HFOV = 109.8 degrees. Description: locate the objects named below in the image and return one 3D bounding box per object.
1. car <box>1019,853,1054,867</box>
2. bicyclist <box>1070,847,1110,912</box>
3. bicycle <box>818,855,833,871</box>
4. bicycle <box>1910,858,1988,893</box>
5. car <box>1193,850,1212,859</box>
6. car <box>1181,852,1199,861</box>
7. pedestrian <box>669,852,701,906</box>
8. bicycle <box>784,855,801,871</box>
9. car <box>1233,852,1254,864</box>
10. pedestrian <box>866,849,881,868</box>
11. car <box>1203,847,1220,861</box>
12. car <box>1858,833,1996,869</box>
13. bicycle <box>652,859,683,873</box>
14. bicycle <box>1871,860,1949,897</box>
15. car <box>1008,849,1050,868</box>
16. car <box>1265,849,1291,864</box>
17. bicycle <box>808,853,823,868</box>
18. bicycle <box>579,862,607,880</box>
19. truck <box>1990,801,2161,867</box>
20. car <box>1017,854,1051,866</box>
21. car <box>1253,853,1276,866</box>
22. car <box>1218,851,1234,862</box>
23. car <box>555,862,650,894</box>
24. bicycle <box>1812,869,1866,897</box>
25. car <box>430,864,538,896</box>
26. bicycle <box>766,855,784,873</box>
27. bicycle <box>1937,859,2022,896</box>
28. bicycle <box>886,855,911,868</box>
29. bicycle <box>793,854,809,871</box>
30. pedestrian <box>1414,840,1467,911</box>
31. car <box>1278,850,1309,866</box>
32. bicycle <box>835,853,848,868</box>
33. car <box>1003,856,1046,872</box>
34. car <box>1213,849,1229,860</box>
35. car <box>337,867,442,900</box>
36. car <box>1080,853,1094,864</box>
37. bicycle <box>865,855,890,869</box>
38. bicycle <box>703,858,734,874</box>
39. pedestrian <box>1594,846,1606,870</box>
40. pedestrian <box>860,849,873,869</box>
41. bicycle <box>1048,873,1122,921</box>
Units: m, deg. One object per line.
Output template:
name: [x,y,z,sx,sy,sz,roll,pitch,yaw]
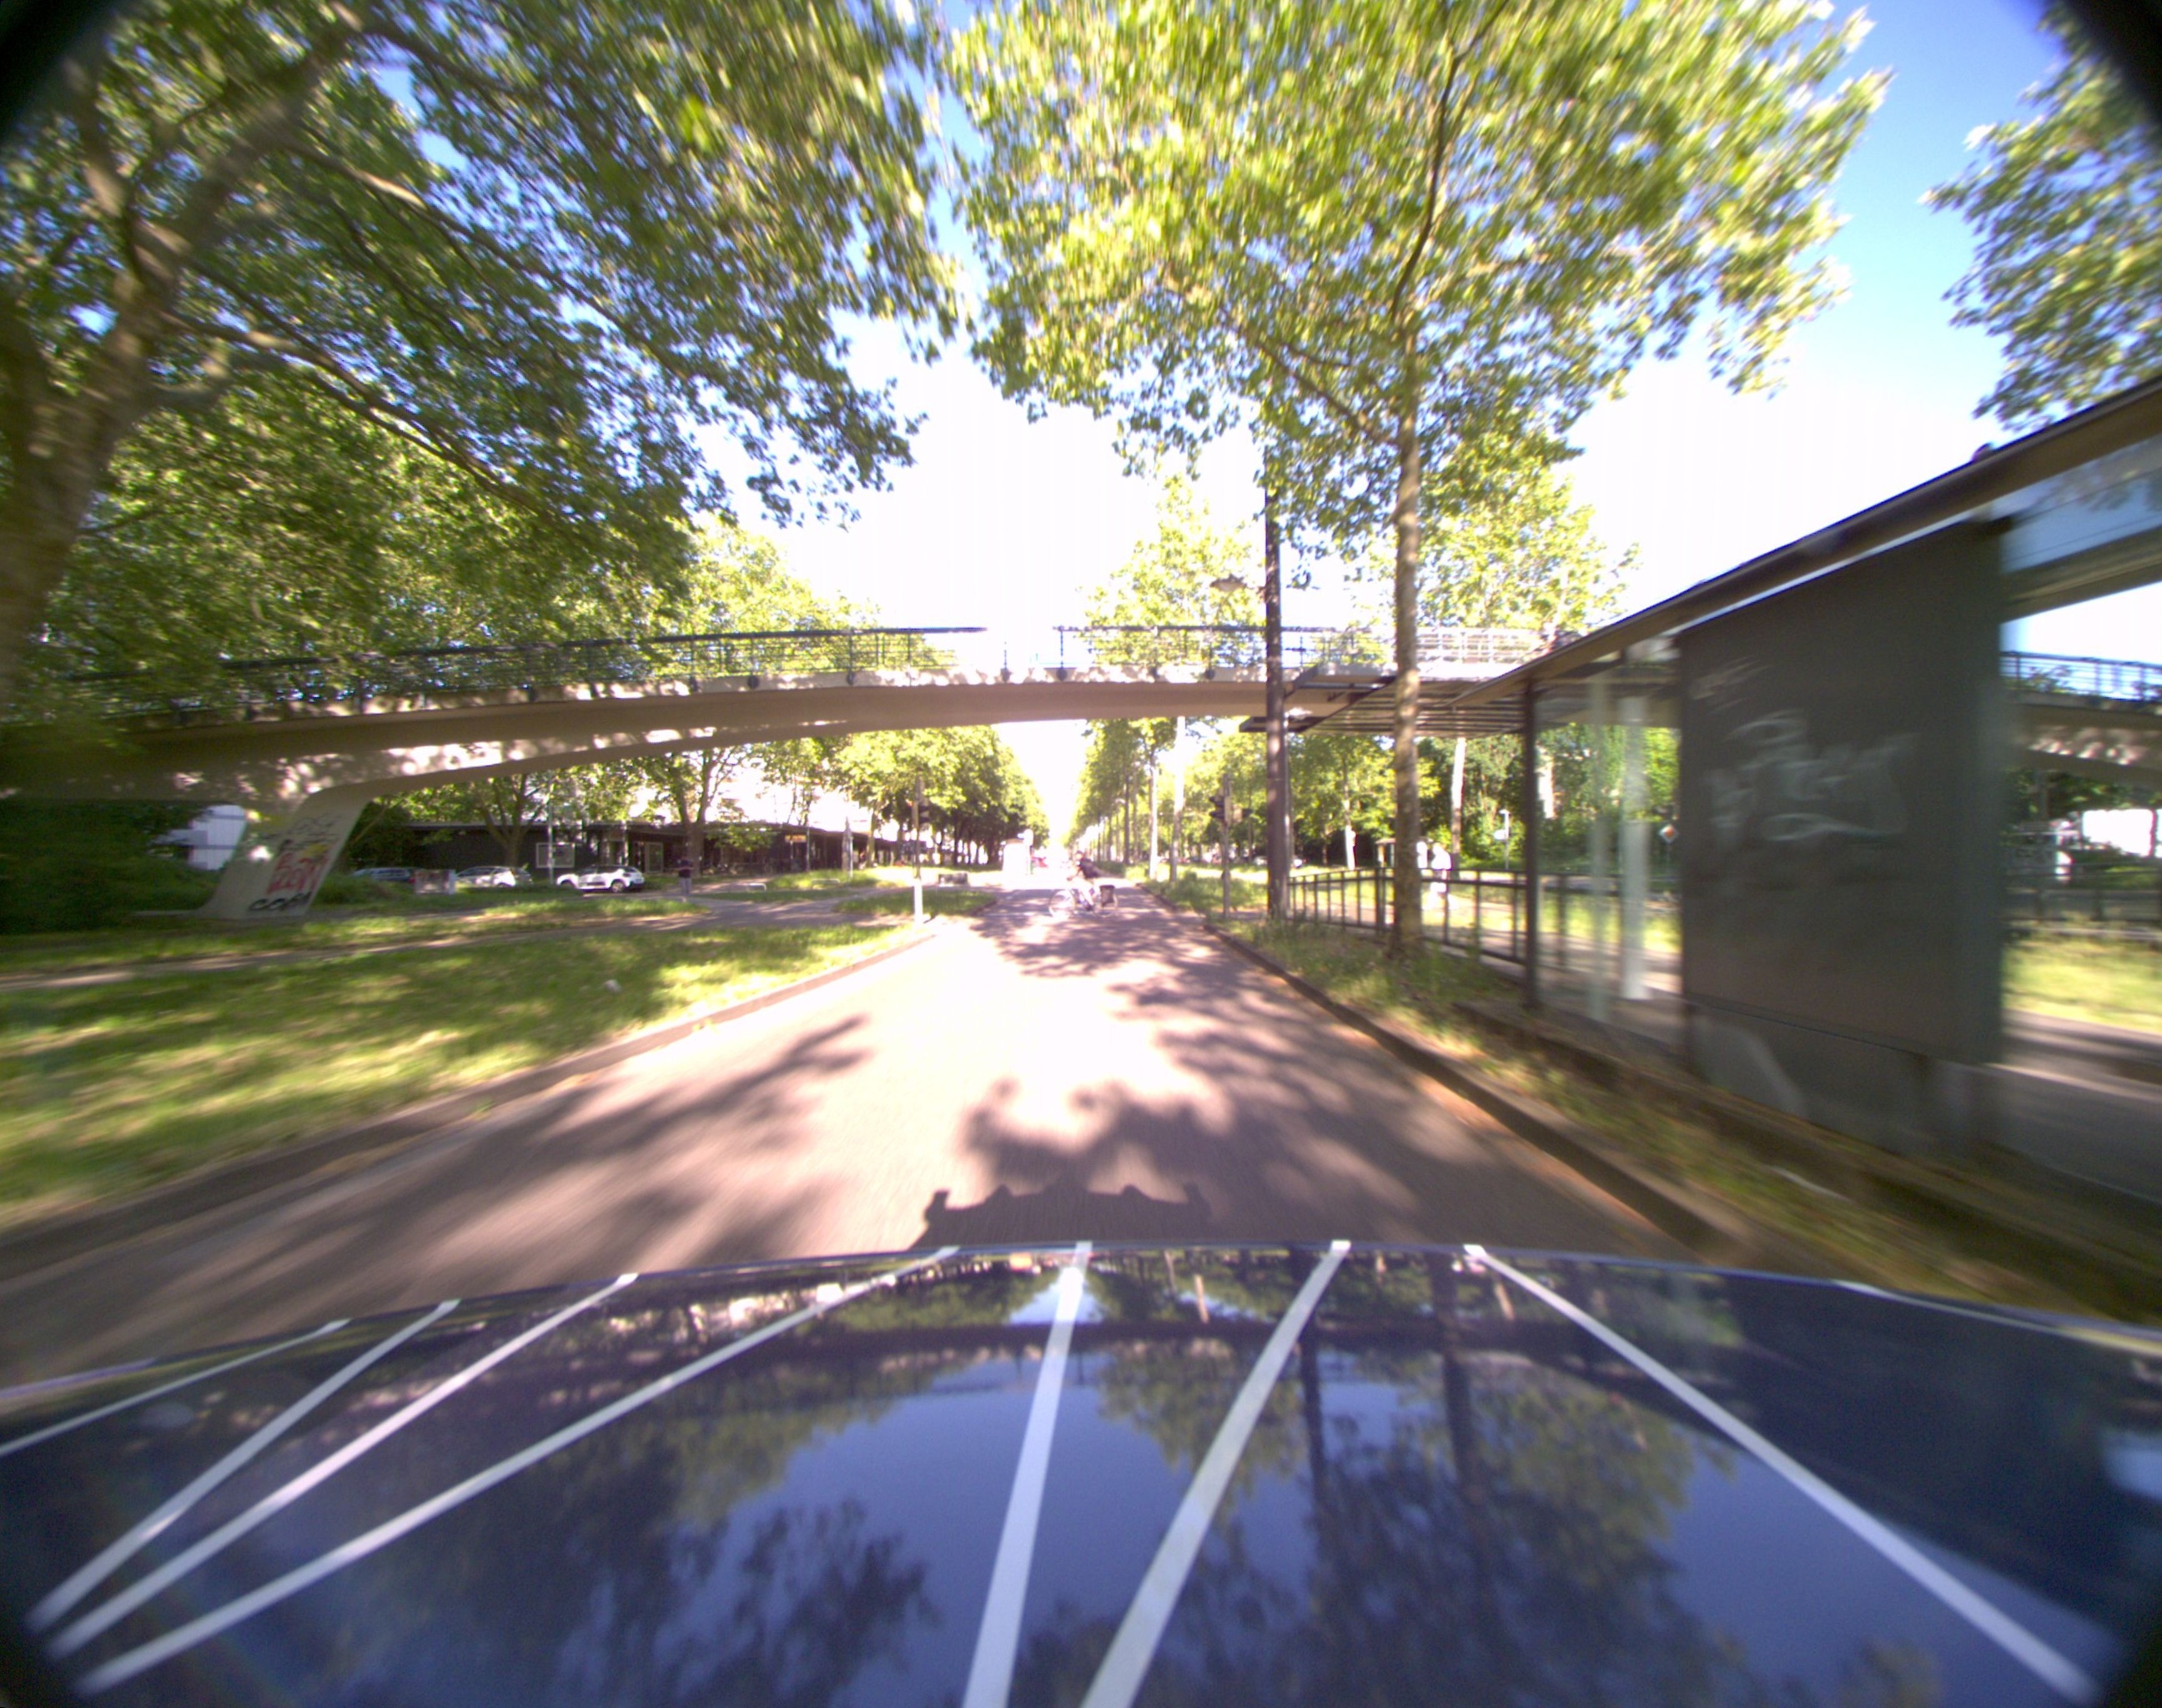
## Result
car: [-5.828,0.794,99.602,4.311,1.666,1.862,-1,0,-44]
bicyclist: [0.245,0.650,19.445,0.956,1.622,0.815,-1,0,3]
bicycle: [-21.165,0.736,62.975,0.577,1.246,1.806,-2,1,-1]
bicycle: [26.105,0.624,22.887,0.435,1.003,1.686,-2,0,1]
car: [22.749,0.028,141.791,1.884,1.558,4.007,-2,1,35]
car: [21.502,0.557,149.864,1.884,1.558,4.007,-2,1,35]
pedestrian: [-13.248,0.844,25.429,0.658,1.767,0.741,-1,-1,38]
bicycle: [-22.452,0.699,59.206,0.577,1.246,1.806,-2,1,-1]
car: [22.461,0.545,105.071,1.843,1.480,4.178,-5,0,-2]
pedestrian: [-17.890,0.384,65.406,1.131,1.698,0.732,-1,1,-9]
car: [21.842,0.005,127.347,1.987,2.045,4.277,-5,1,-1]
car: [49.873,-0.174,44.851,6.151,1.937,2.224,-1,1,-5]
bicycle: [-28.920,0.817,53.150,1.806,0.949,0.710,1,1,-7]
bicycle: [24.246,0.701,22.258,0.435,1.003,1.686,-2,0,1]
car: [-5.125,0.446,75.035,3.960,1.832,1.763,0,1,-45]
car: [22.606,0.272,87.435,1.820,1.587,4.189,-4,1,0]
bicycle: [-22.973,0.584,65.791,0.577,1.246,1.806,-2,1,-1]
bicycle: [-30.524,1.066,47.534,0.506,0.955,2.193,0,3,-6]
truck: [59.996,-1.217,45.564,8.514,3.729,2.745,-1,1,-6]
car: [-5.656,0.785,92.018,1.681,1.395,4.096,1,0,43]
car: [22.850,0.672,94.803,1.723,1.410,4.023,-4,0,0]
car: [21.946,0.413,115.274,1.545,1.480,3.569,-4,0,-1]
car: [-24.498,1.241,39.012,3.739,1.486,1.710,-2,-2,-2]
bicycle: [22.822,0.854,22.893,0.435,0.774,1.174,-2,0,1]
car: [-30.304,1.312,38.699,3.986,1.486,1.667,-1,-2,-10]
bicycle: [-22.246,0.735,55.212,0.577,1.246,1.806,-2,1,-1]
bicycle: [25.680,0.652,21.759,0.435,1.003,1.686,-2,0,1]
bicycle: [-15.584,0.640,64.888,2.073,1.151,0.561,0,1,-10]
bicycle: [-22.558,0.680,61.281,0.577,1.246,1.806,-2,1,-1]
pedestrian: [8.868,0.513,18.784,0.727,1.664,1.048,-2,1,-3]
car: [22.641,0.433,80.975,1.902,1.480,4.626,-4,1,0]
bicycle: [-21.420,0.579,67.883,0.577,1.246,1.806,-2,1,-1]
car: [-5.236,0.911,70.870,3.837,1.464,1.514,0,1,-44]
car: [22.161,0.039,120.666,1.754,1.487,3.816,-4,1,-1]
car: [-34.643,1.466,38.130,3.590,1.486,1.623,-1,-2,-7]
car: [0.951,0.707,116.130,1.897,1.623,4.502,-2,0,3]
bicycle: [-17.698,0.711,65.945,2.069,1.151,0.562,0,1,15]
bicycle: [-25.499,0.821,53.457,1.806,1.109,0.710,0,2,-7]
pedestrian: [32.420,0.246,47.460,0.534,1.483,0.588,-2,1,26]
pedestrian: [-19.287,0.425,68.406,0.967,1.830,0.952,-1,1,-8]
bicycle: [0.122,1.091,19.442,1.835,1.140,0.815,-1,0,3]
